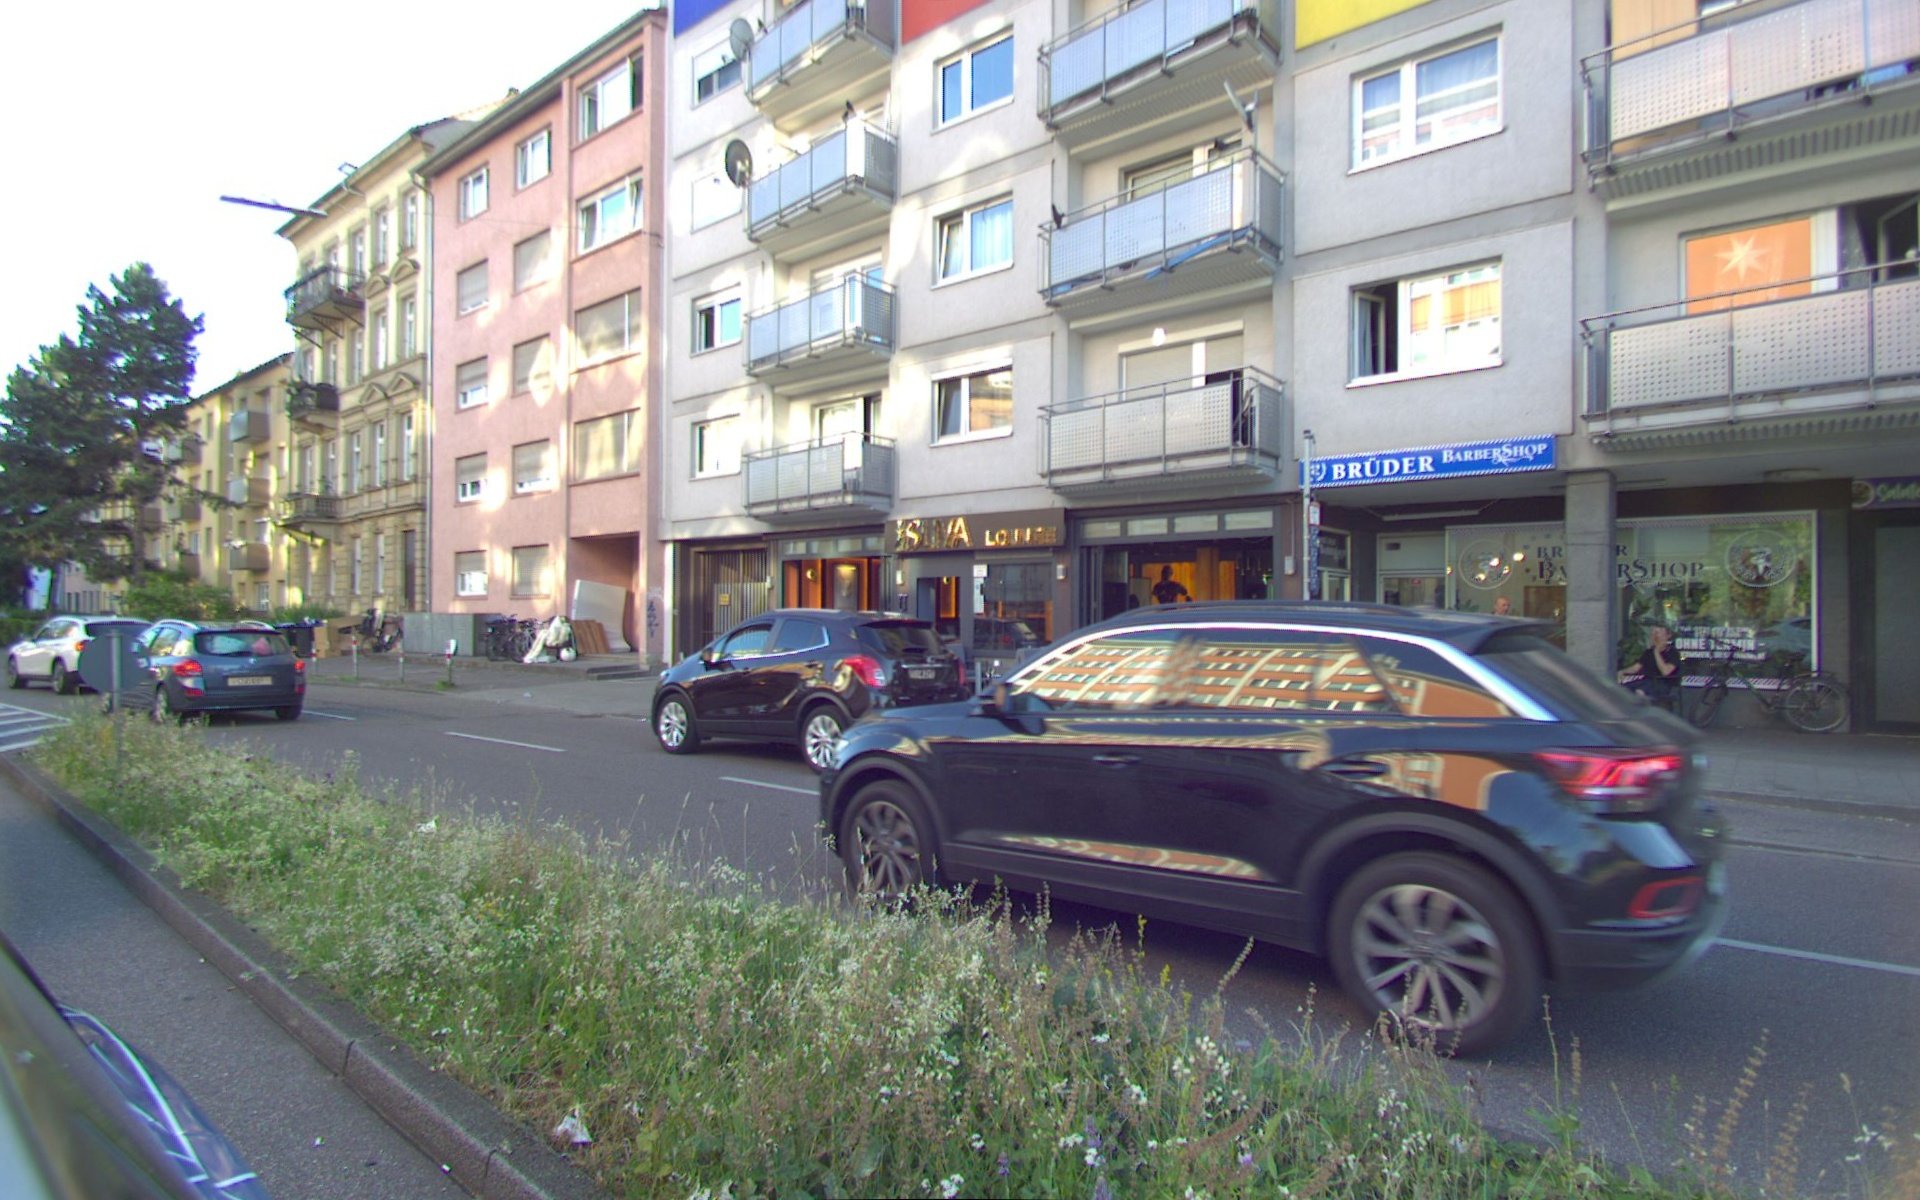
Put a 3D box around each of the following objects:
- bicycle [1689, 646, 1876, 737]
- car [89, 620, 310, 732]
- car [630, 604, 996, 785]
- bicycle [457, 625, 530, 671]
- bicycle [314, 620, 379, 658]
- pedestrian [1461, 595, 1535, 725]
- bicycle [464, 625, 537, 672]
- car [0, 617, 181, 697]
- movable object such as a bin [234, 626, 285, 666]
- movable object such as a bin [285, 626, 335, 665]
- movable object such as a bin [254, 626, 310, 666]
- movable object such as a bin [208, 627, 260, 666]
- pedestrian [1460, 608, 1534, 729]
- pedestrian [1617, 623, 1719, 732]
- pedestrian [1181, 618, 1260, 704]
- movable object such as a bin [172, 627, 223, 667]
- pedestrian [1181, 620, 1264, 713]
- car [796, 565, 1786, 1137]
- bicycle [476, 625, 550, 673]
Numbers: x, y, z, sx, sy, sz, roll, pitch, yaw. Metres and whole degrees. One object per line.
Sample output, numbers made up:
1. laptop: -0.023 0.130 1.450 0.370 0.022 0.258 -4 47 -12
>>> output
1. bicycle: 9.981 1.083 12.363 1.691 1.006 0.620 0 -1 32
2. car: -11.480 1.068 15.200 3.978 1.482 1.577 -1 -3 37
3. car: -1.734 0.930 11.188 4.098 1.641 1.702 -1 -3 40
4. bicycle: -12.543 1.279 27.261 0.473 1.200 1.758 -1 -2 38
5. bicycle: -19.988 1.266 32.991 0.473 1.200 1.758 -1 -2 38
6. pedestrian: 7.162 0.786 13.496 0.650 1.685 0.625 0 -1 5
7. bicycle: -12.155 1.275 26.823 0.473 1.200 1.758 -1 -2 38
8. car: -18.077 1.139 20.930 4.234 1.499 1.739 -1 -3 32
9. movable object such as a bin: -22.793 1.483 32.941 0.837 1.242 1.193 0 -1 1
10. movable object such as a bin: -20.937 1.459 32.605 0.837 1.242 1.193 0 -1 1
11. movable object such as a bin: -21.866 1.469 32.656 0.916 1.242 1.292 0 -1 1
12. movable object such as a bin: -23.663 1.495 33.000 0.837 1.242 1.193 0 -1 1
13. pedestrian: 6.791 0.842 12.805 0.648 1.478 0.626 1 -2 -41
14. pedestrian: 8.803 0.945 12.602 0.798 1.323 0.626 0 -1 -3
15. pedestrian: 4.292 0.973 16.664 0.974 1.357 0.871 -1 -2 40
16. movable object such as a bin: -24.586 1.507 32.668 0.836 1.242 1.195 0 -1 -8
17. pedestrian: 3.989 0.978 15.351 0.882 1.357 0.961 -1 -2 40
18. car: 1.203 0.758 4.765 4.100 1.556 1.658 -2 -3 41
19. bicycle: -11.612 1.261 26.329 0.473 1.200 1.758 -1 -2 38
